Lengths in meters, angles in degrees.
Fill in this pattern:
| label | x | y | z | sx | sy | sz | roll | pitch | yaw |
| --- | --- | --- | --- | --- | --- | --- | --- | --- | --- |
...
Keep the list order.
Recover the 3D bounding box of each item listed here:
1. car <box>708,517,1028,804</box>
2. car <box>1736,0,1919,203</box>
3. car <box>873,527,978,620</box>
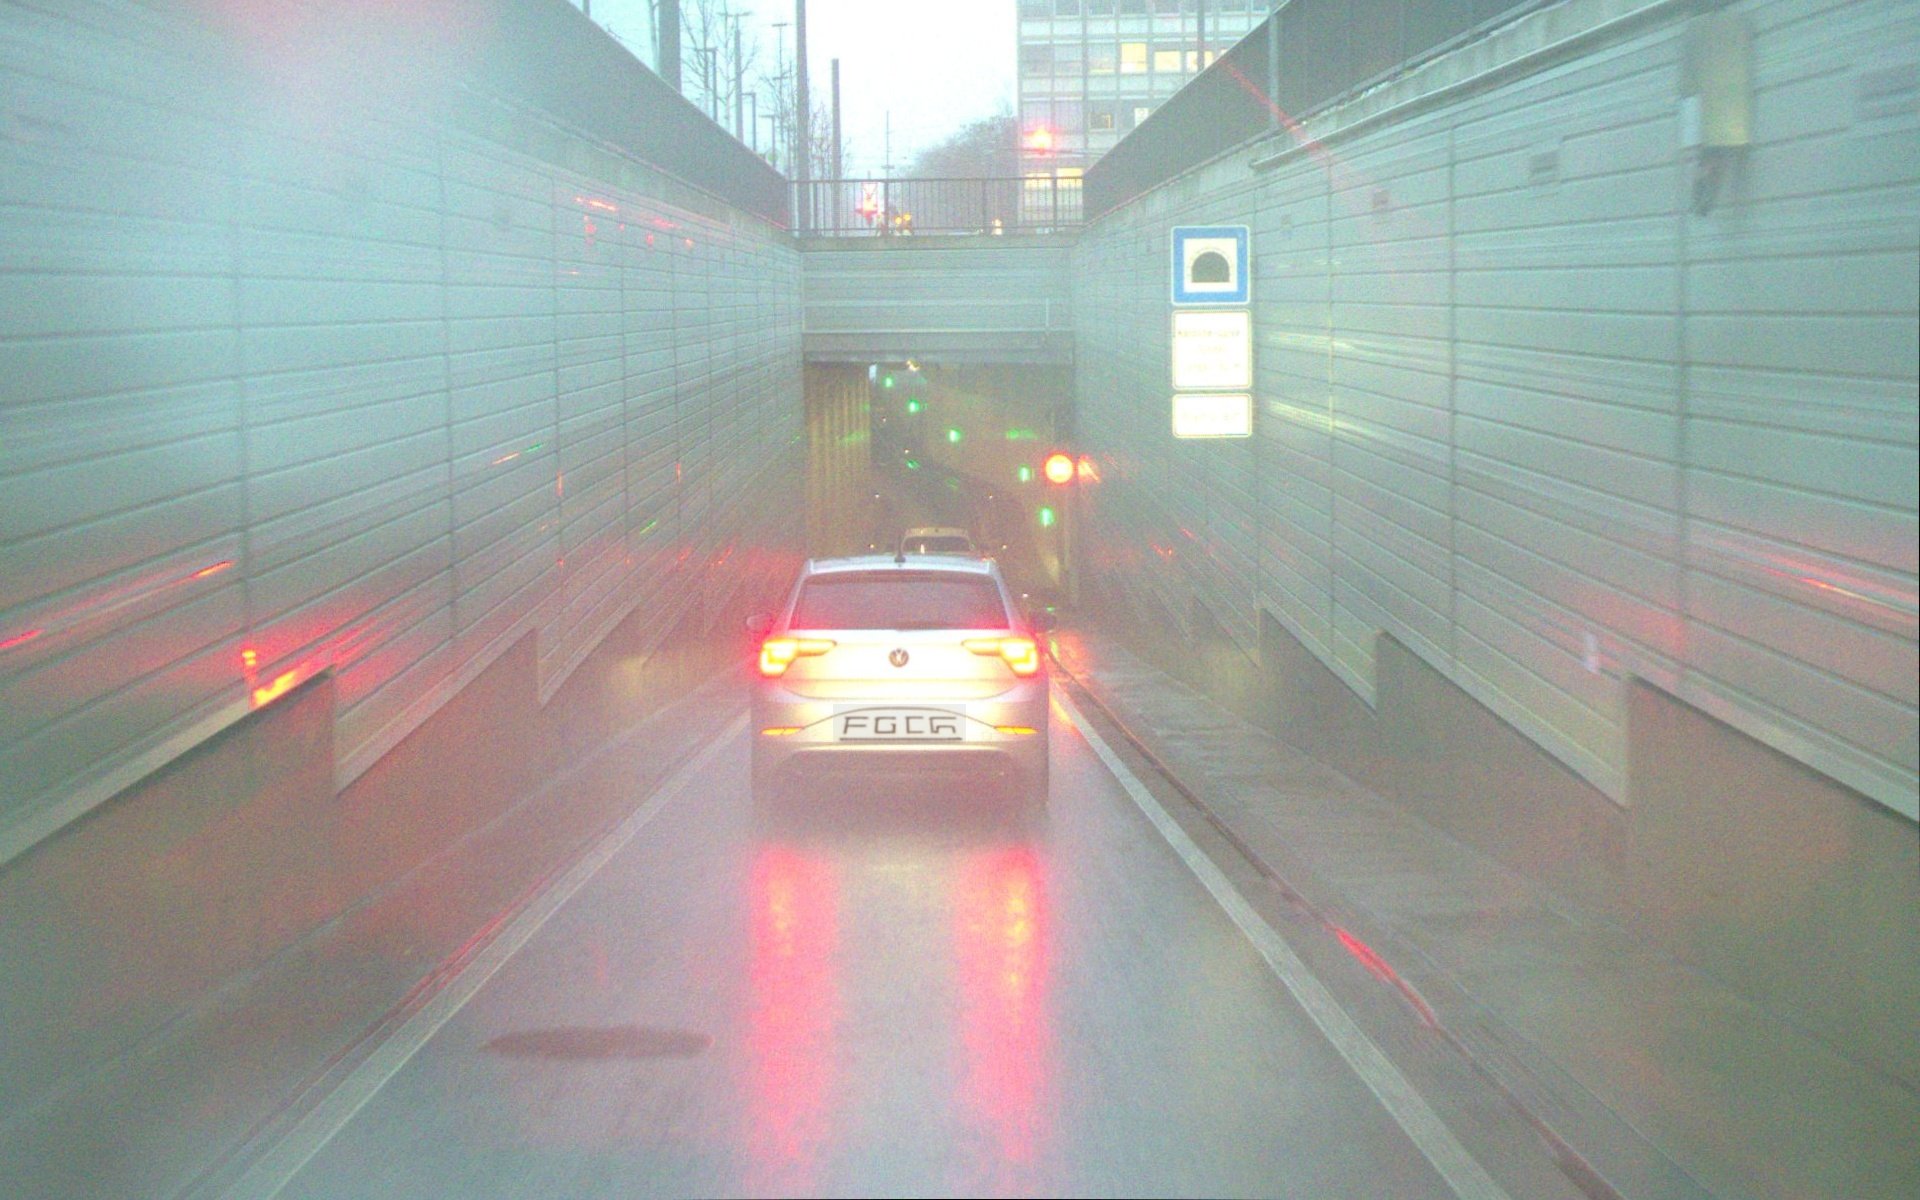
| label | x | y | z | sx | sy | sz | roll | pitch | yaw |
| --- | --- | --- | --- | --- | --- | --- | --- | --- | --- |
| car | -0.467 | 0.285 | 20.883 | 1.722 | 1.474 | 4.000 | 1 | 2 | 1 |
| car | 4.358 | -2.377 | 13.545 | 1.722 | 1.474 | 4.001 | 1 | 5 | 1 |
| car | -0.697 | -0.541 | 66.647 | 1.919 | 1.480 | 4.001 | 1 | 5 | -2 |
